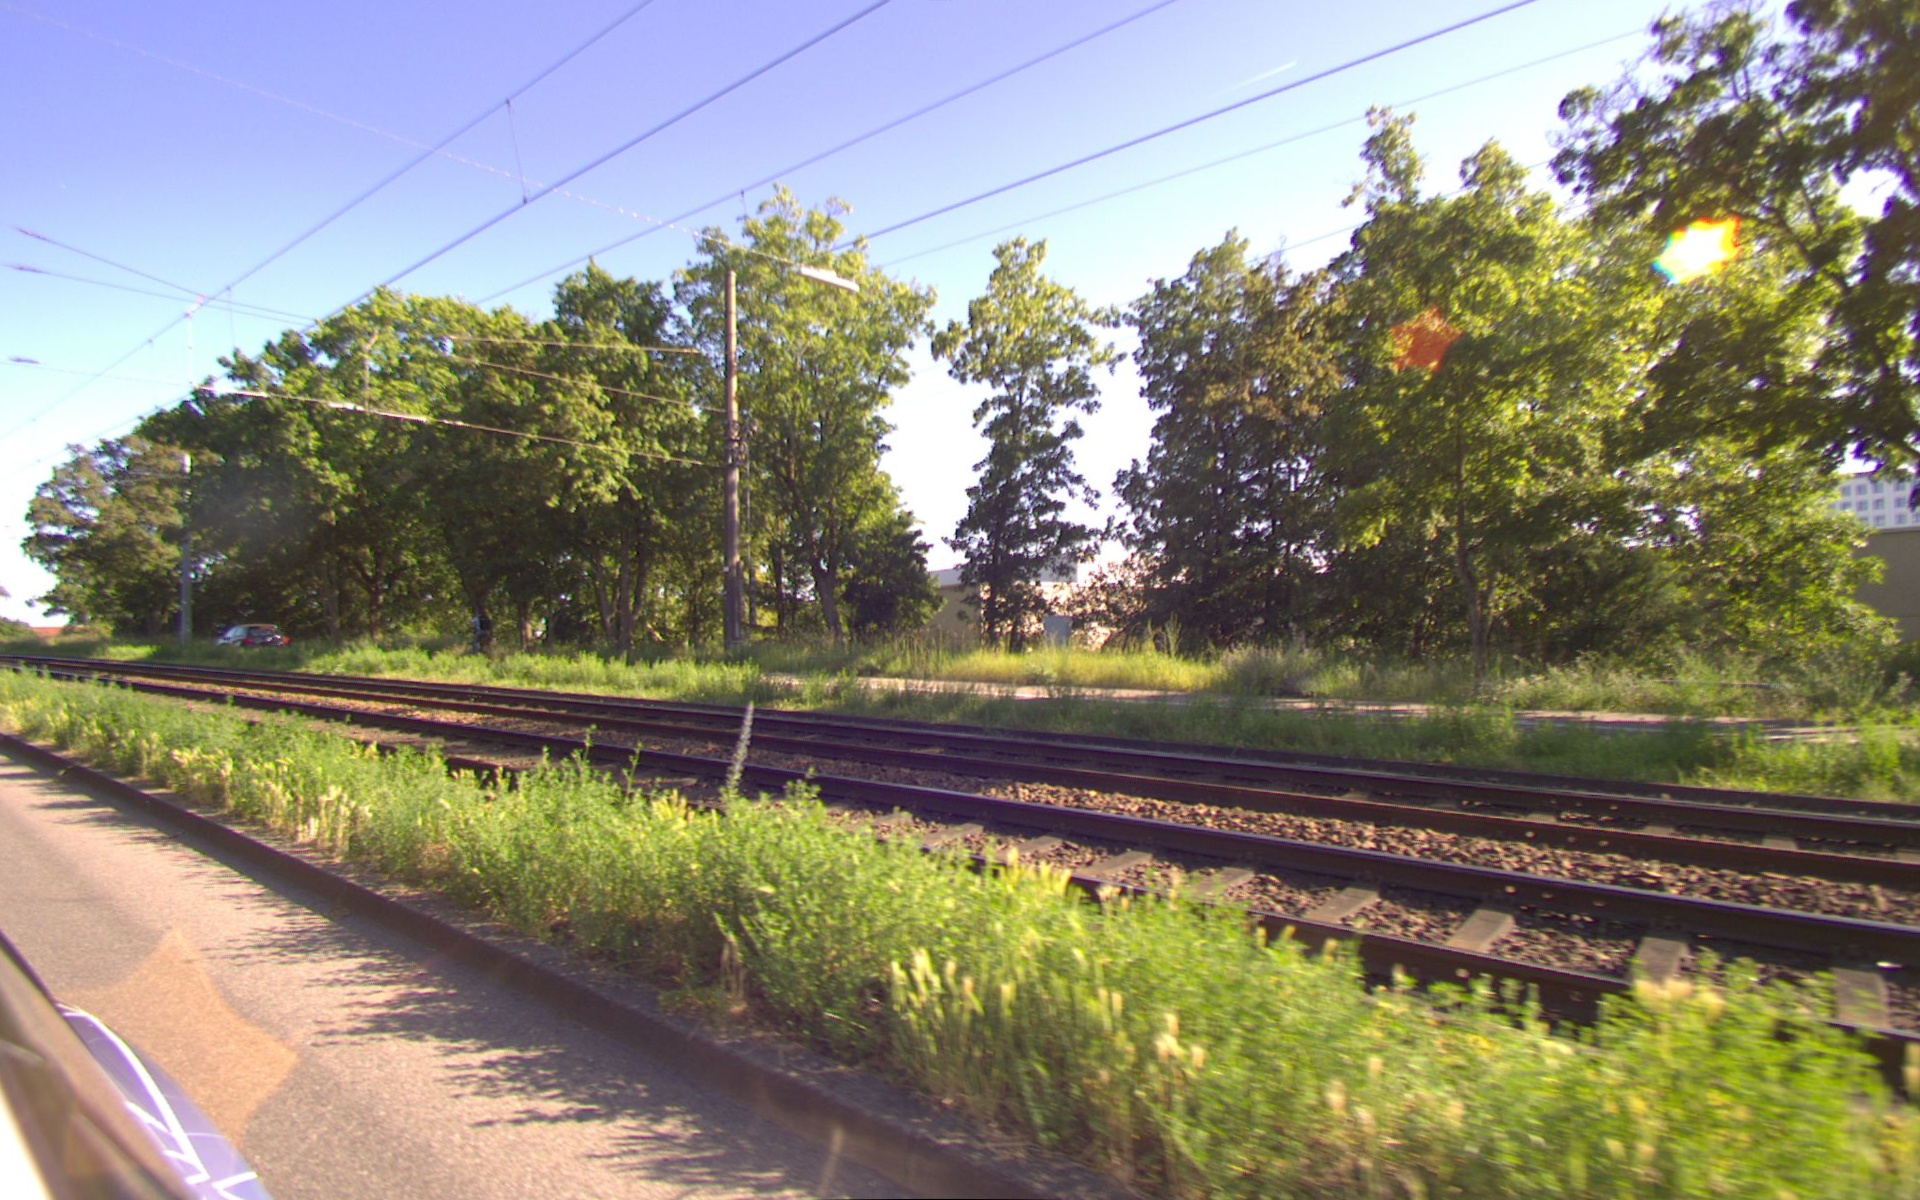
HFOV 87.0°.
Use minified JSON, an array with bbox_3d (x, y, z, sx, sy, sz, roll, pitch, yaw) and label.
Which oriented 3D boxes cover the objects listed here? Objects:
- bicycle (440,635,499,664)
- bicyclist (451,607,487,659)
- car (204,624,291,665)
[{"bbox_3d":[-16.762,1.669,34.555,2.534,0.921,0.810,-2,-1,39],"label":"bicycle"},{"bbox_3d":[-16.775,1.109,34.565,0.901,1.749,0.811,-2,-1,39],"label":"bicyclist"},{"bbox_3d":[-27.431,1.689,38.927,3.995,1.490,1.694,-2,-1,39],"label":"car"}]
